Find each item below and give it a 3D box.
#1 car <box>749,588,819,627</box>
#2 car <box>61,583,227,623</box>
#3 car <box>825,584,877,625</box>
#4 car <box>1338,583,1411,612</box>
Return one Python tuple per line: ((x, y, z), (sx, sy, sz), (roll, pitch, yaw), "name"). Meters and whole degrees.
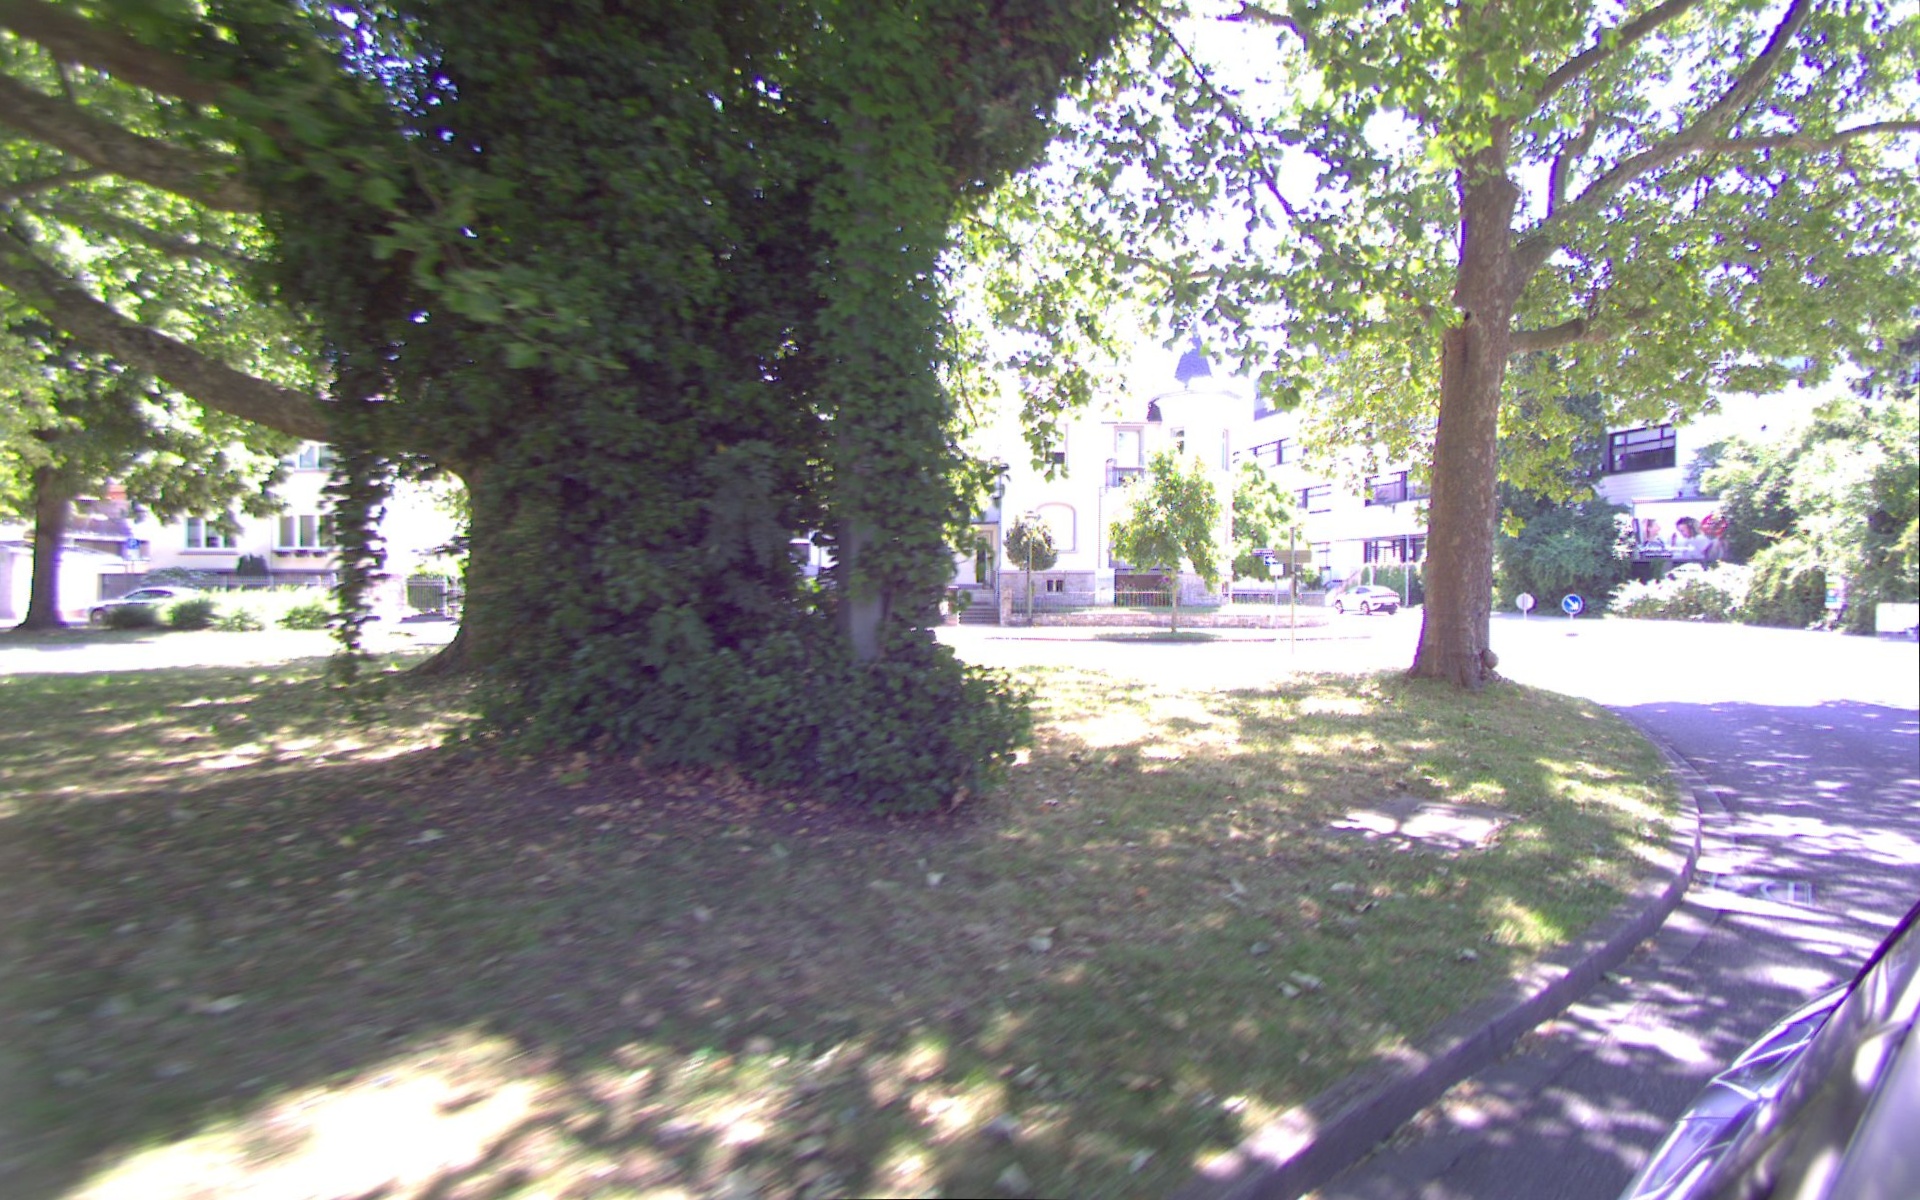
((-7.008, 0.273, 40.730), (1.963, 1.408, 3.998), (-1, 1, 3), "car")
((-29.501, 0.097, 36.695), (4.624, 1.303, 1.671), (-1, 1, -1), "car")
((-4.508, 0.150, 41.497), (1.959, 1.587, 4.006), (-1, 1, -8), "car")
((23.313, -0.135, 57.094), (1.813, 1.550, 4.345), (0, 0, -8), "car")
